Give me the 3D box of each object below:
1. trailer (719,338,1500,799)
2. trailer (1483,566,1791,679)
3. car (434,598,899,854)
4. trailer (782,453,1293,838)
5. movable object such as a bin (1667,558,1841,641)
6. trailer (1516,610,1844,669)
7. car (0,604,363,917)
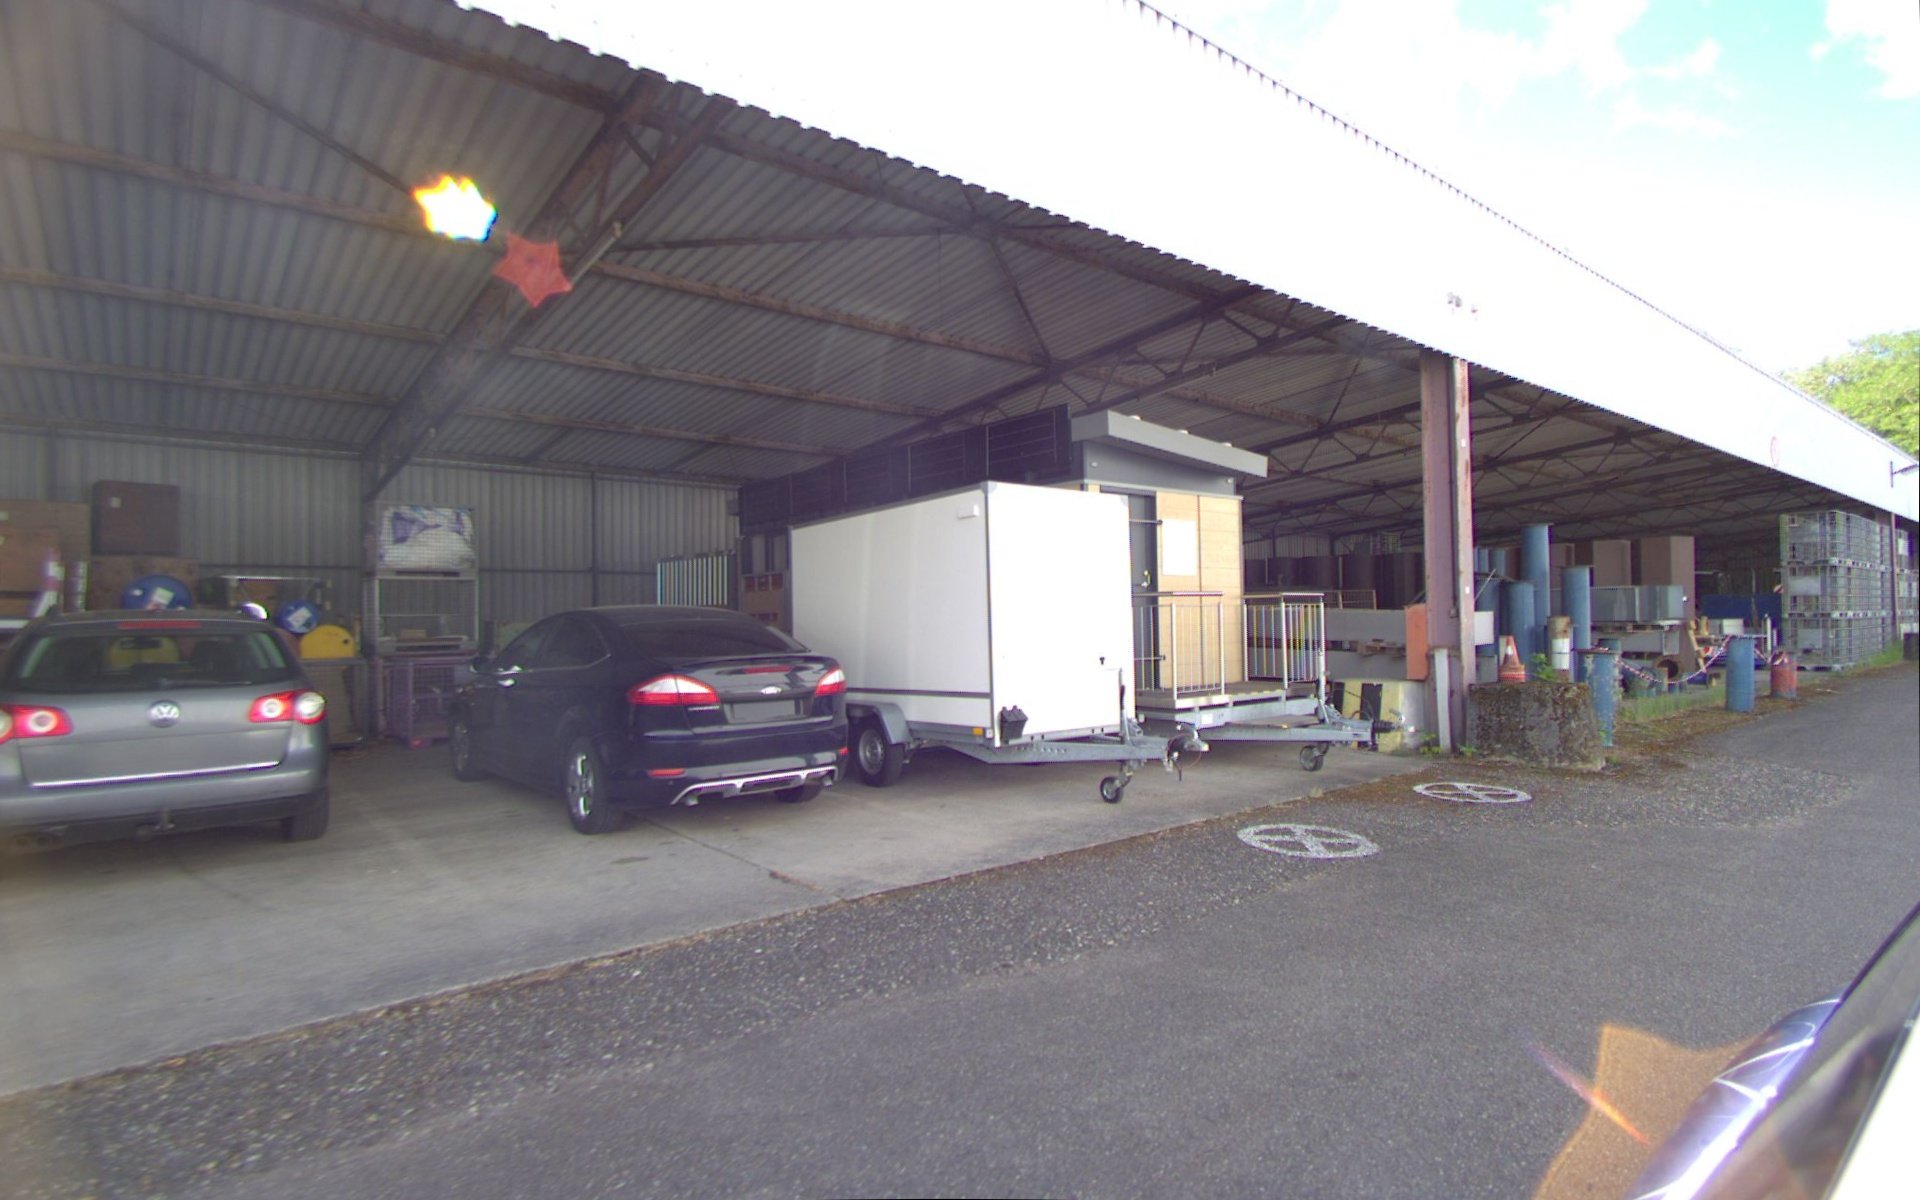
[{"bbox_3d":[0.557,-0.223,12.193,2.627,3.337,10.316,0,0,-38],"label":"trailer"},{"bbox_3d":[13.616,0.398,20.662,2.009,2.022,4.831,0,0,-36],"label":"trailer"},{"bbox_3d":[-2.563,0.729,8.049,1.833,1.451,4.349,0,0,-42],"label":"car"},{"bbox_3d":[0.331,0.280,8.534,1.658,2.365,4.552,0,0,-38],"label":"trailer"},{"bbox_3d":[28.359,0.015,36.265,1.965,2.757,4.622,2,-2,-41],"label":"movable object such as a bin"},{"bbox_3d":[16.026,0.848,22.882,1.974,1.147,5.743,0,-1,-40],"label":"trailer"},{"bbox_3d":[-5.416,0.772,6.800,1.817,1.472,4.116,0,0,-39],"label":"car"}]
